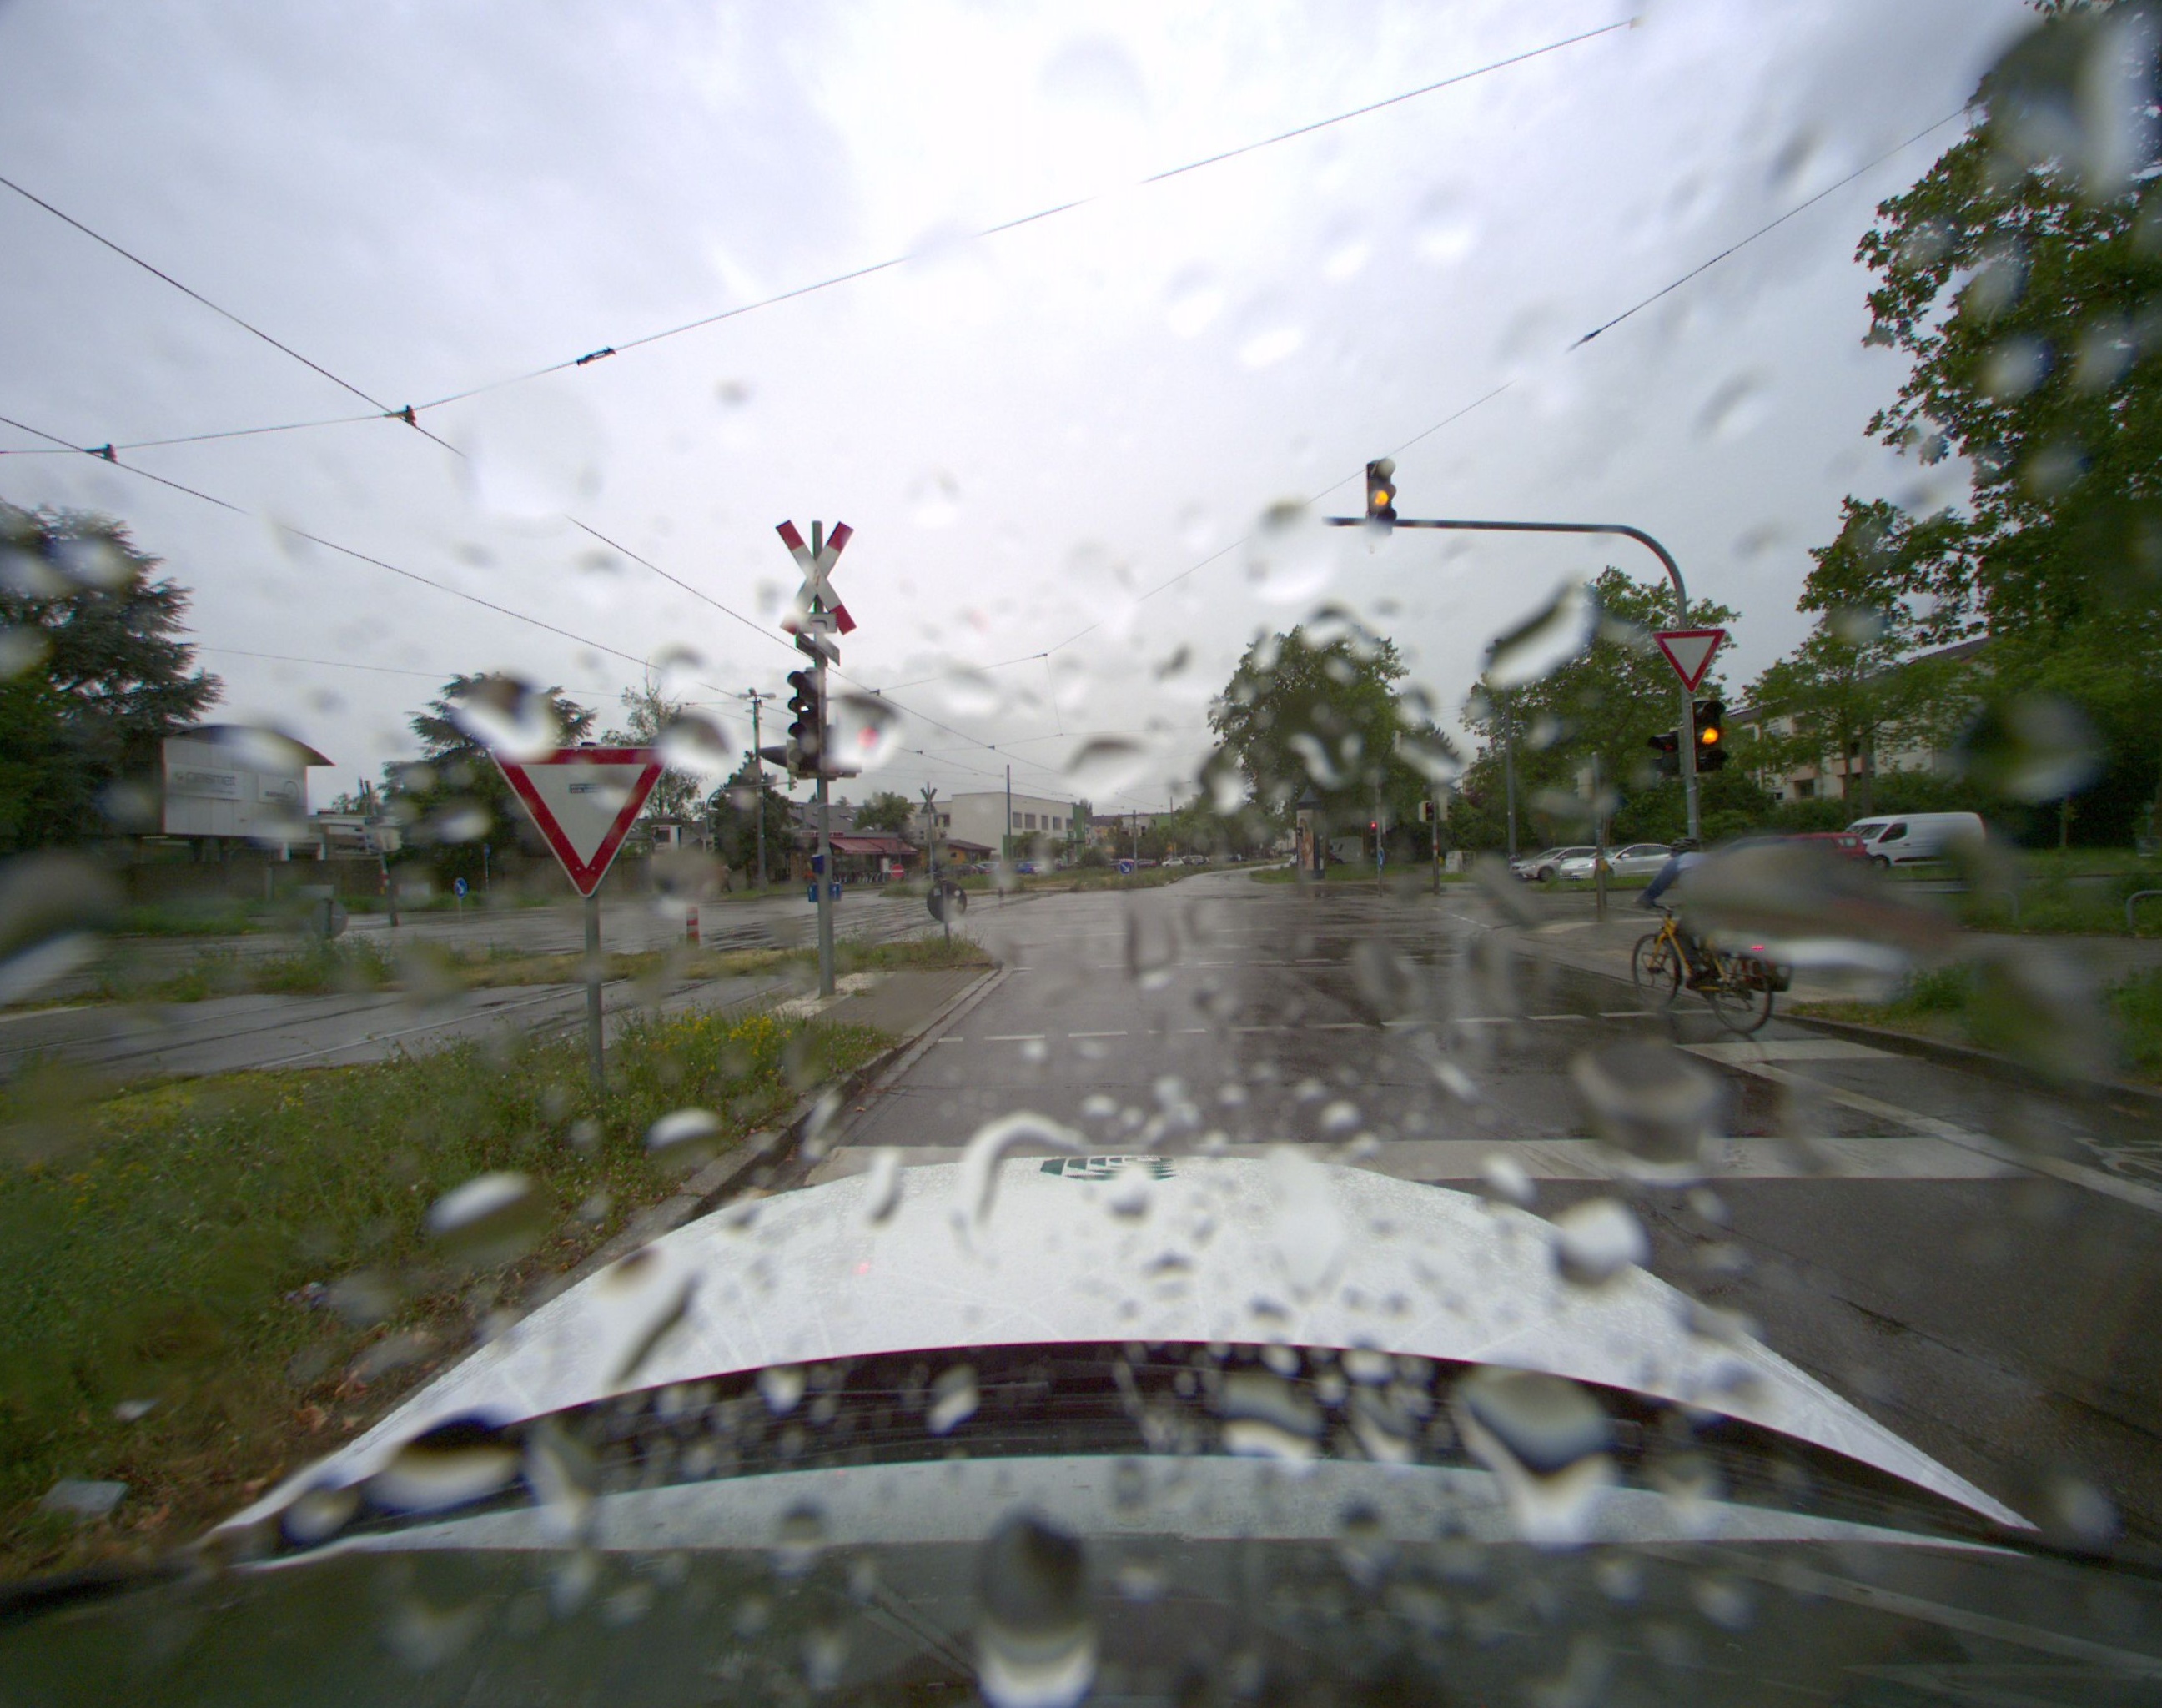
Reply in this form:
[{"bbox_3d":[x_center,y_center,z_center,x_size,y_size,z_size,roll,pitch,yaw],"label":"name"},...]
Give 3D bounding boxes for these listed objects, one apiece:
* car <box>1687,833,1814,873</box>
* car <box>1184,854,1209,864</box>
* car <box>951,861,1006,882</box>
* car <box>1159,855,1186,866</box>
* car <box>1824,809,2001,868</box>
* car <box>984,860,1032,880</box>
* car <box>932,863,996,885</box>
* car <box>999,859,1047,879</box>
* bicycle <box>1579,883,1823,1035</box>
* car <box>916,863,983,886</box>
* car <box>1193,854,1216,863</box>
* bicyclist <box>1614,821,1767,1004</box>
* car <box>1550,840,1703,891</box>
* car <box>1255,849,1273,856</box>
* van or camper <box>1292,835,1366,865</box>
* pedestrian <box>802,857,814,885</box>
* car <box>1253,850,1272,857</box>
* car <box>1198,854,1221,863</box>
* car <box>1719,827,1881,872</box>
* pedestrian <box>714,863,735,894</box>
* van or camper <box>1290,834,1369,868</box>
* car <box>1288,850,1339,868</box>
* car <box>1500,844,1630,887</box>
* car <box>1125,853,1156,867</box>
[{"bbox_3d":[28.245,-0.044,34.418,4.048,1.607,1.788,0,-1,-5],"label":"car"},{"bbox_3d":[20.428,0.841,144.594,3.986,1.759,2.004,0,-1,-10],"label":"car"},{"bbox_3d":[-8.172,1.410,65.146,3.966,1.582,1.862,-2,-1,6],"label":"car"},{"bbox_3d":[14.224,0.958,126.642,3.772,1.702,1.832,0,-1,-8],"label":"car"},{"bbox_3d":[35.126,-0.628,34.508,5.589,2.392,1.999,0,-1,-2],"label":"car"},{"bbox_3d":[-6.284,1.362,70.058,3.986,1.582,1.924,-2,-1,-9],"label":"car"},{"bbox_3d":[-8.849,1.534,61.769,4.478,1.418,1.860,-3,-1,3],"label":"car"},{"bbox_3d":[-5.220,1.350,73.210,4.112,1.641,1.922,-1,-1,-12],"label":"car"},{"bbox_3d":[5.337,0.841,7.198,0.688,1.117,1.884,-1,-1,-1],"label":"bicycle"},{"bbox_3d":[-9.556,1.506,59.378,4.459,1.418,1.860,-3,-1,3],"label":"car"},{"bbox_3d":[23.246,0.855,153.524,3.986,1.832,1.994,0,-1,-10],"label":"car"},{"bbox_3d":[5.331,0.491,7.178,0.688,1.506,0.844,-1,-1,-1],"label":"bicyclist"},{"bbox_3d":[20.476,0.429,30.683,4.585,1.828,1.931,0,-1,-5],"label":"car"},{"bbox_3d":[45.509,-0.391,202.615,3.977,1.832,1.998,0,-1,-3],"label":"car"},{"bbox_3d":[27.225,-0.367,89.270,7.359,3.178,3.281,-1,-1,24],"label":"van or camper"},{"bbox_3d":[-20.176,1.254,60.189,0.723,2.014,0.792,0,-1,-9],"label":"pedestrian"},{"bbox_3d":[44.062,-0.151,197.910,3.977,1.832,1.998,0,-1,-3],"label":"car"},{"bbox_3d":[24.984,0.883,158.555,3.977,1.832,1.998,0,-1,-3],"label":"car"},{"bbox_3d":[26.985,-0.157,30.665,4.589,1.607,1.790,0,-1,-1],"label":"car"},{"bbox_3d":[-21.019,1.459,48.018,0.719,1.797,0.890,0,0,15],"label":"pedestrian"},{"bbox_3d":[24.465,-0.239,80.091,7.261,3.178,3.278,-1,-1,20],"label":"van or camper"},{"bbox_3d":[22.036,0.498,77.224,4.405,1.717,2.011,-1,-1,23],"label":"car"},{"bbox_3d":[20.173,0.479,34.039,4.385,1.691,1.931,0,-1,-5],"label":"car"},{"bbox_3d":[8.013,0.835,110.153,3.980,1.887,1.997,0,-1,-5],"label":"car"}]
